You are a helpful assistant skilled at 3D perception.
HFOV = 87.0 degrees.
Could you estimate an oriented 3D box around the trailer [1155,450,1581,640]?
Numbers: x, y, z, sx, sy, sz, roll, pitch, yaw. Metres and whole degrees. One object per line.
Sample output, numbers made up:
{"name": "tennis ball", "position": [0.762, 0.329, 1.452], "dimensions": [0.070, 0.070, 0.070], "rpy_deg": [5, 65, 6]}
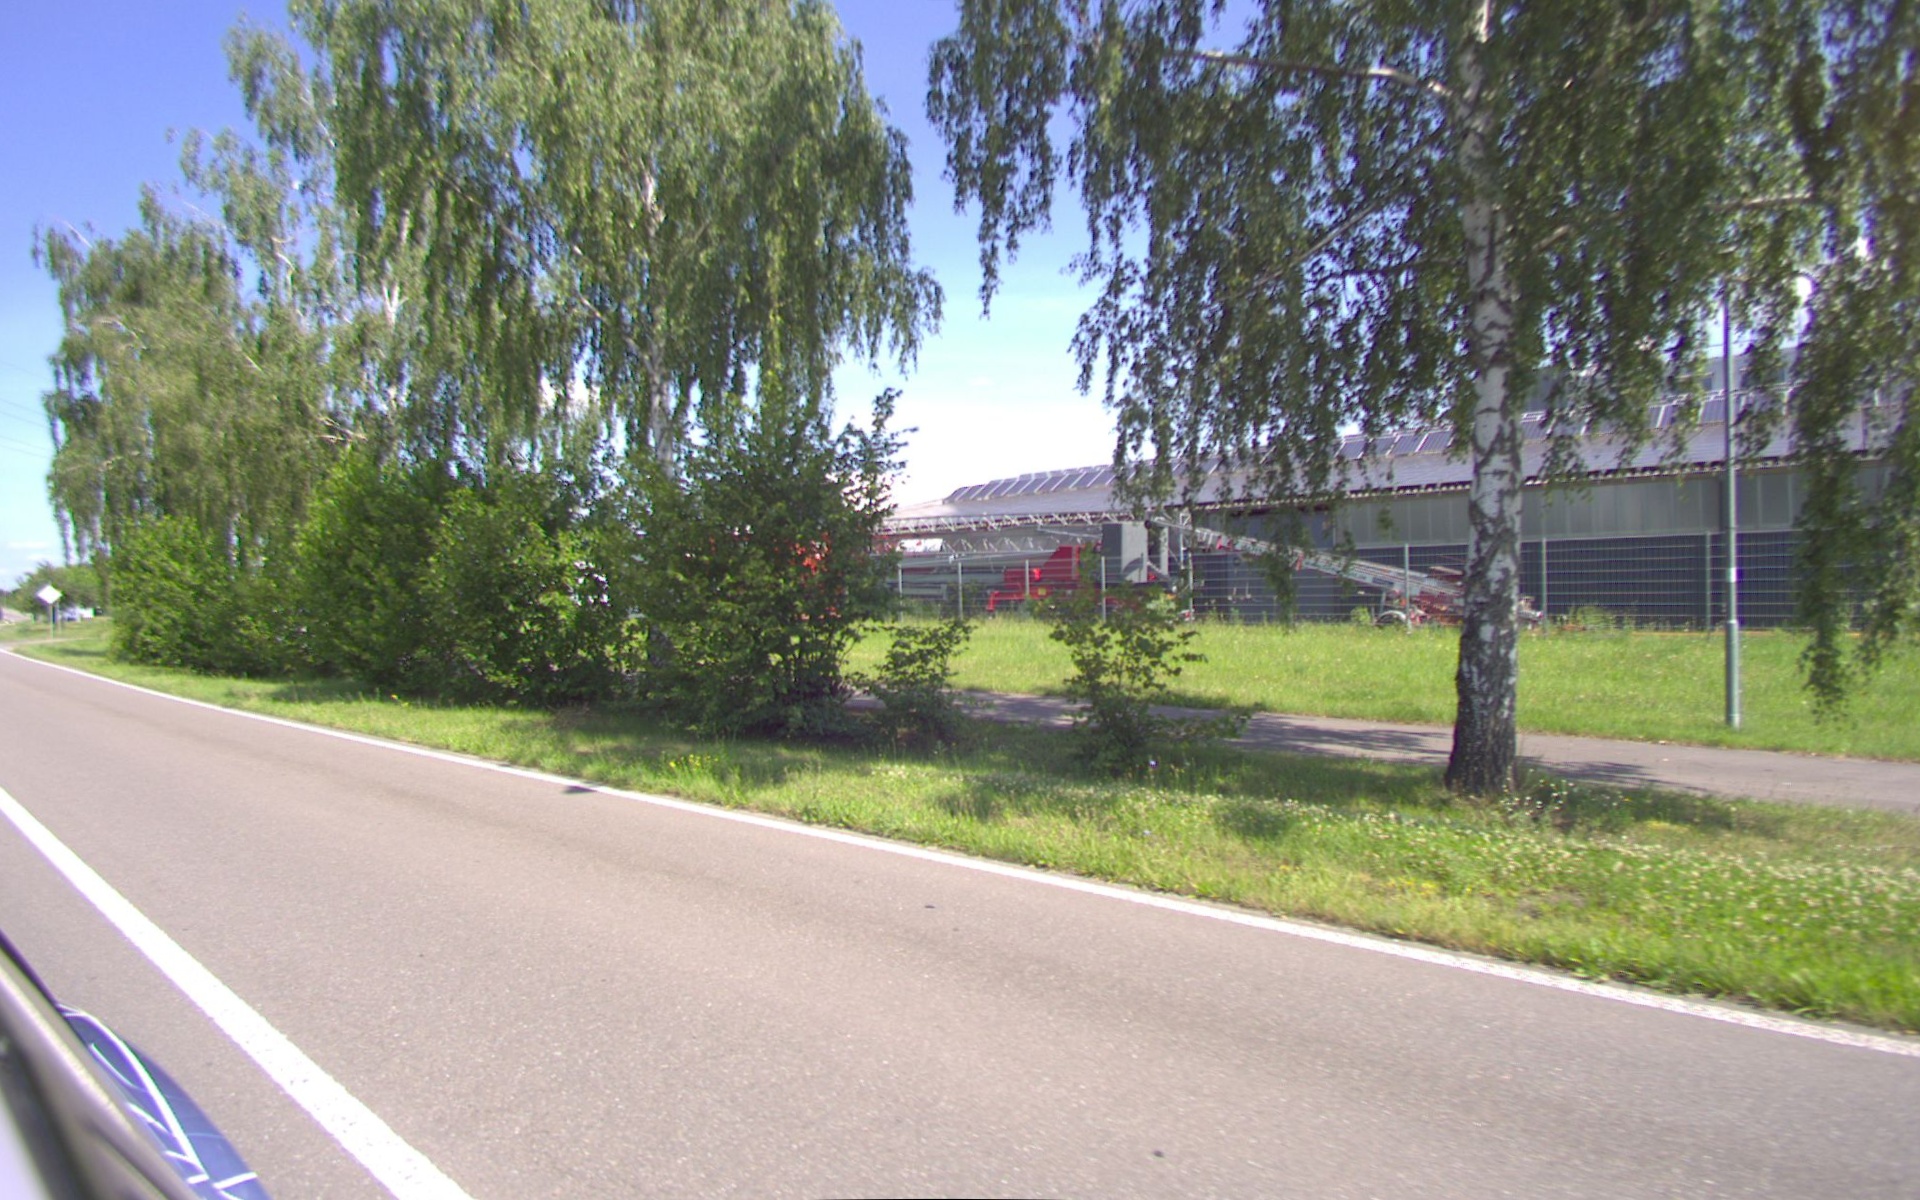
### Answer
{"name": "trailer", "position": [9.226, -1.028, 23.781], "dimensions": [8.659, 3.672, 3.362], "rpy_deg": [-1, 0, 43]}

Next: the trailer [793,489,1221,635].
{"name": "trailer", "position": [0.637, -0.896, 31.834], "dimensions": [14.926, 3.672, 3.254], "rpy_deg": [-1, 0, 43]}

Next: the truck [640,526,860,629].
{"name": "truck", "position": [-8.680, -0.752, 40.528], "dimensions": [10.594, 3.672, 3.067], "rpy_deg": [-1, 0, 43]}
